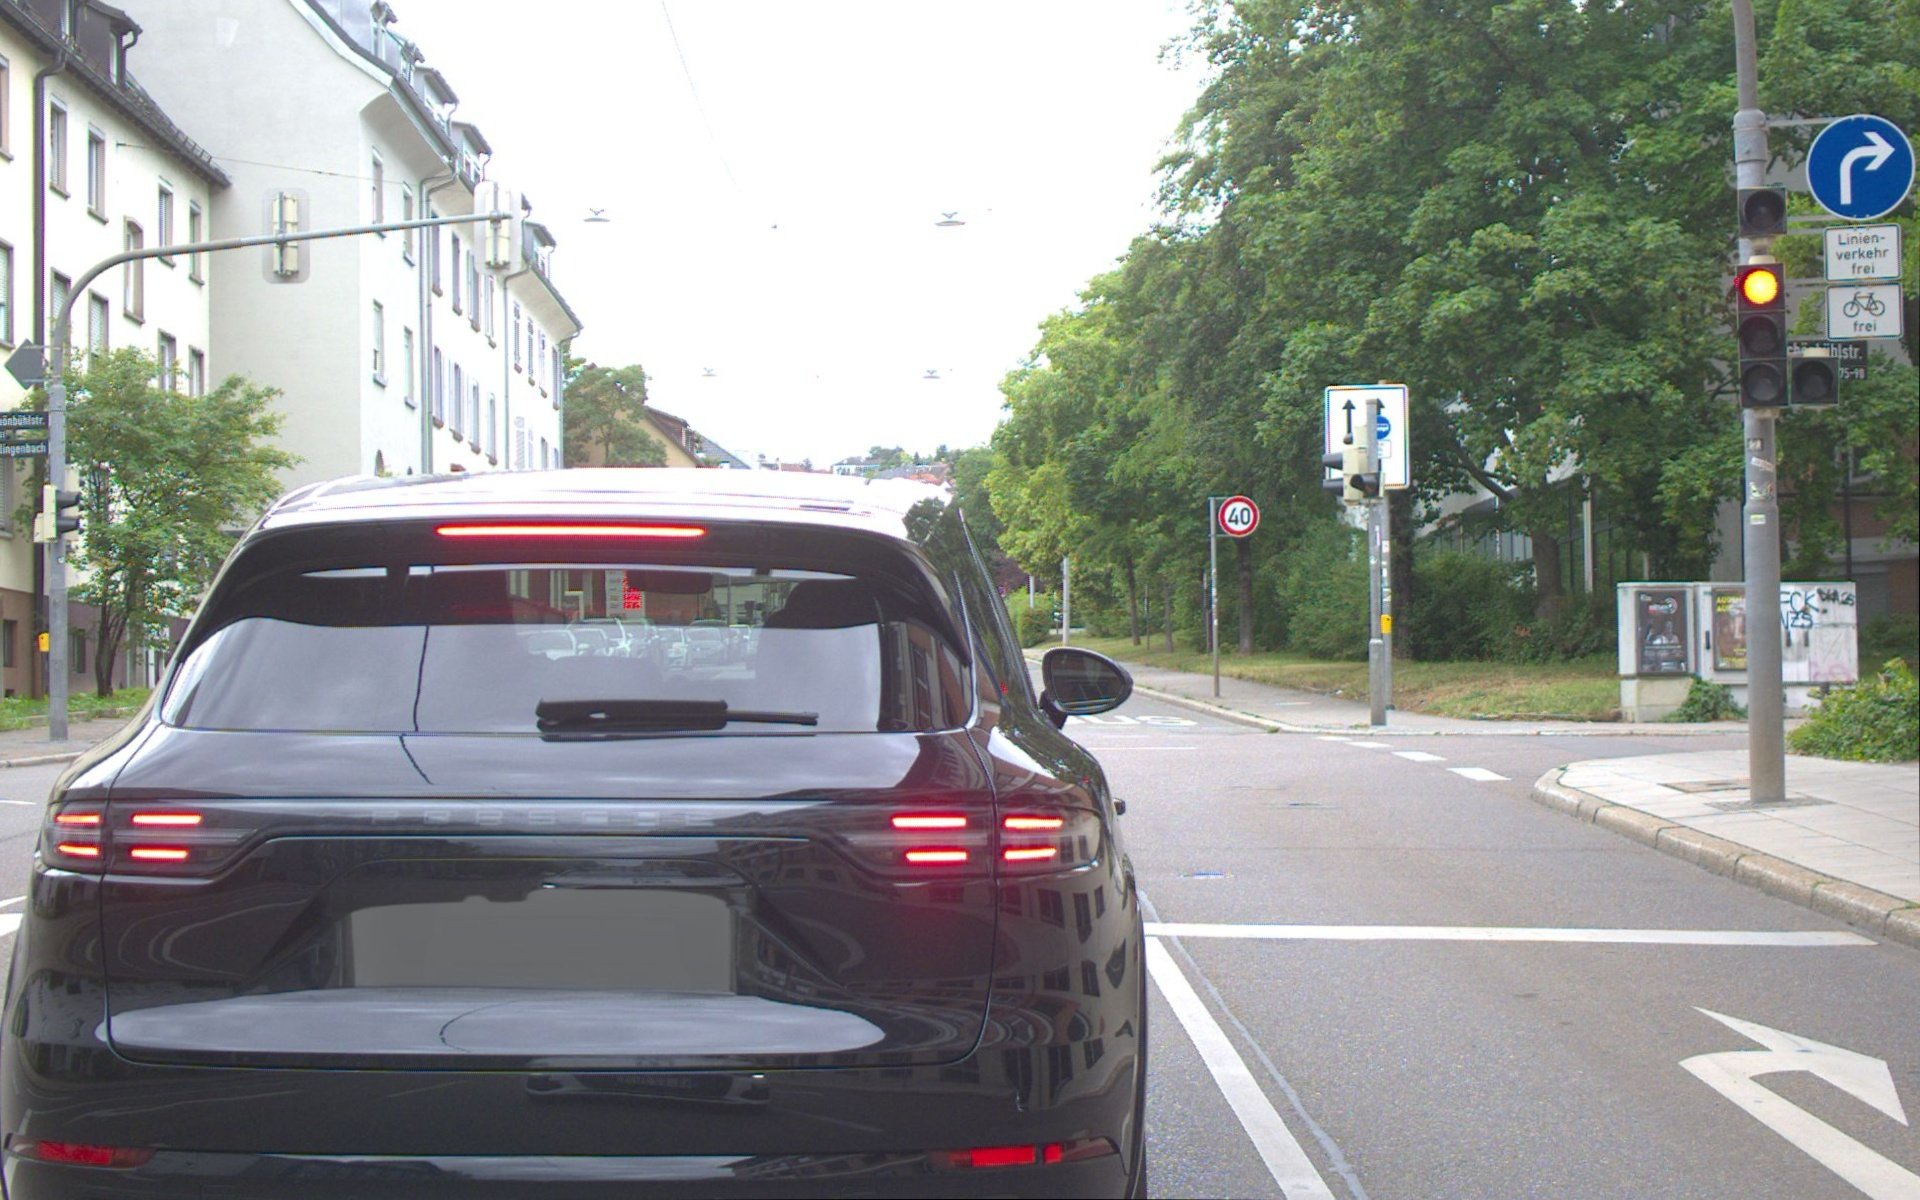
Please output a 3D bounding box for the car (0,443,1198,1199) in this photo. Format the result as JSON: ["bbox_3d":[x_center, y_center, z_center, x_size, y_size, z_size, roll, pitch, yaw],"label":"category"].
[{"bbox_3d":[-0.695,0.571,7.253,2.048,1.660,4.267,1,1,0],"label":"car"}]

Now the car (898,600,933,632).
[{"bbox_3d":[-2.353,0.826,182.489,1.827,1.599,4.135,1,1,0],"label":"car"}]

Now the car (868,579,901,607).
[{"bbox_3d":[-4.446,-0.418,202.949,1.827,1.599,4.135,1,1,0],"label":"car"}]

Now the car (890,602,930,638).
[{"bbox_3d":[-2.349,0.939,163.313,1.827,1.599,4.135,1,1,0],"label":"car"}]

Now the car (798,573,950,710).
[{"bbox_3d":[-1.059,0.492,43.825,1.827,1.599,4.135,1,1,0],"label":"car"}]

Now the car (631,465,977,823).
[{"bbox_3d":[-0.914,0.220,21.901,1.965,2.035,4.135,1,1,0],"label":"car"}]

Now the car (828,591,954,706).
[{"bbox_3d":[-1.032,0.714,52.543,1.827,1.599,3.859,1,1,0],"label":"car"}]
